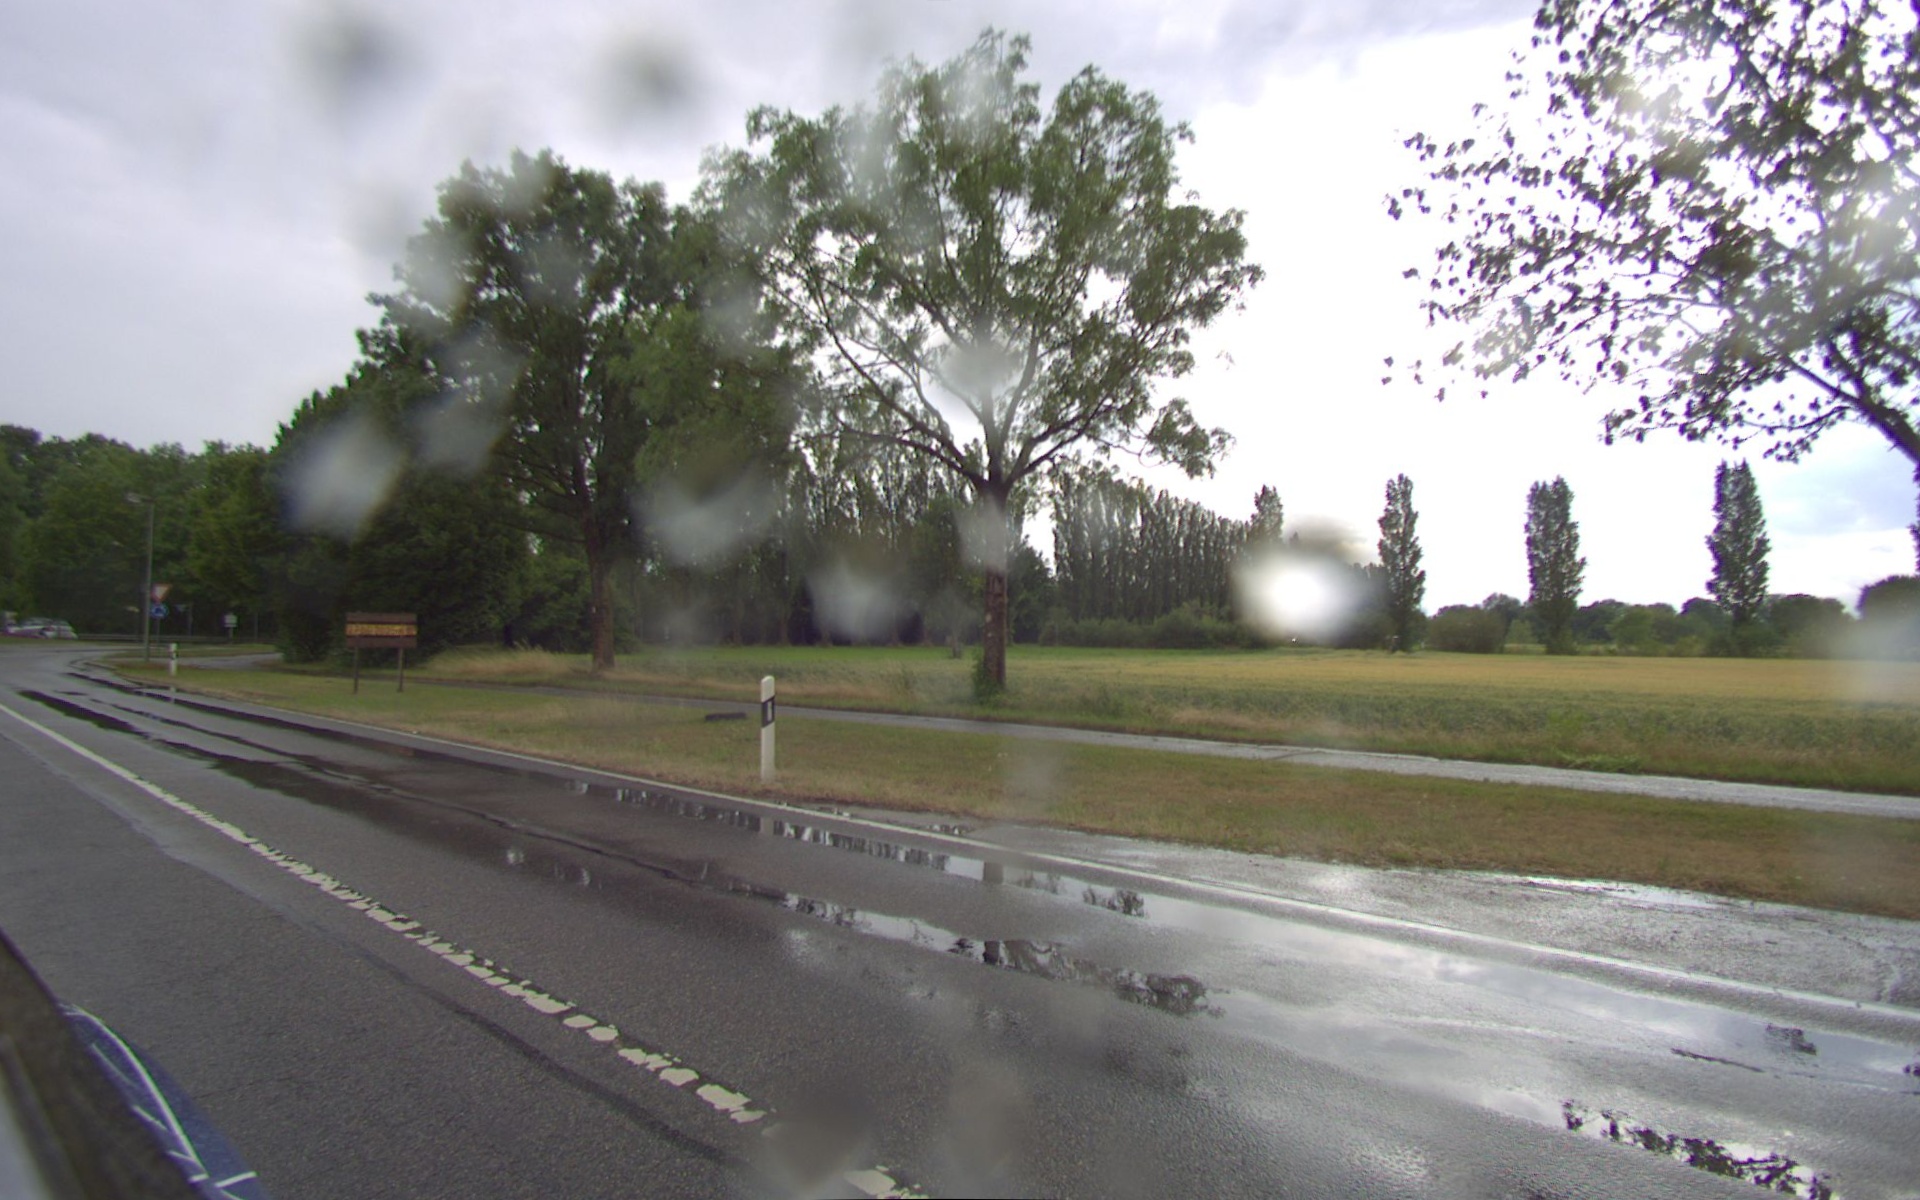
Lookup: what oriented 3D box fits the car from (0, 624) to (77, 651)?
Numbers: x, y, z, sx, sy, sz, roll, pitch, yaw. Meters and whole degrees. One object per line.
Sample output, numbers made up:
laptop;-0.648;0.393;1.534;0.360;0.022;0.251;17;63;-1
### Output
car;-52.498;2.123;57.375;3.692;1.510;1.676;0;-3;9
